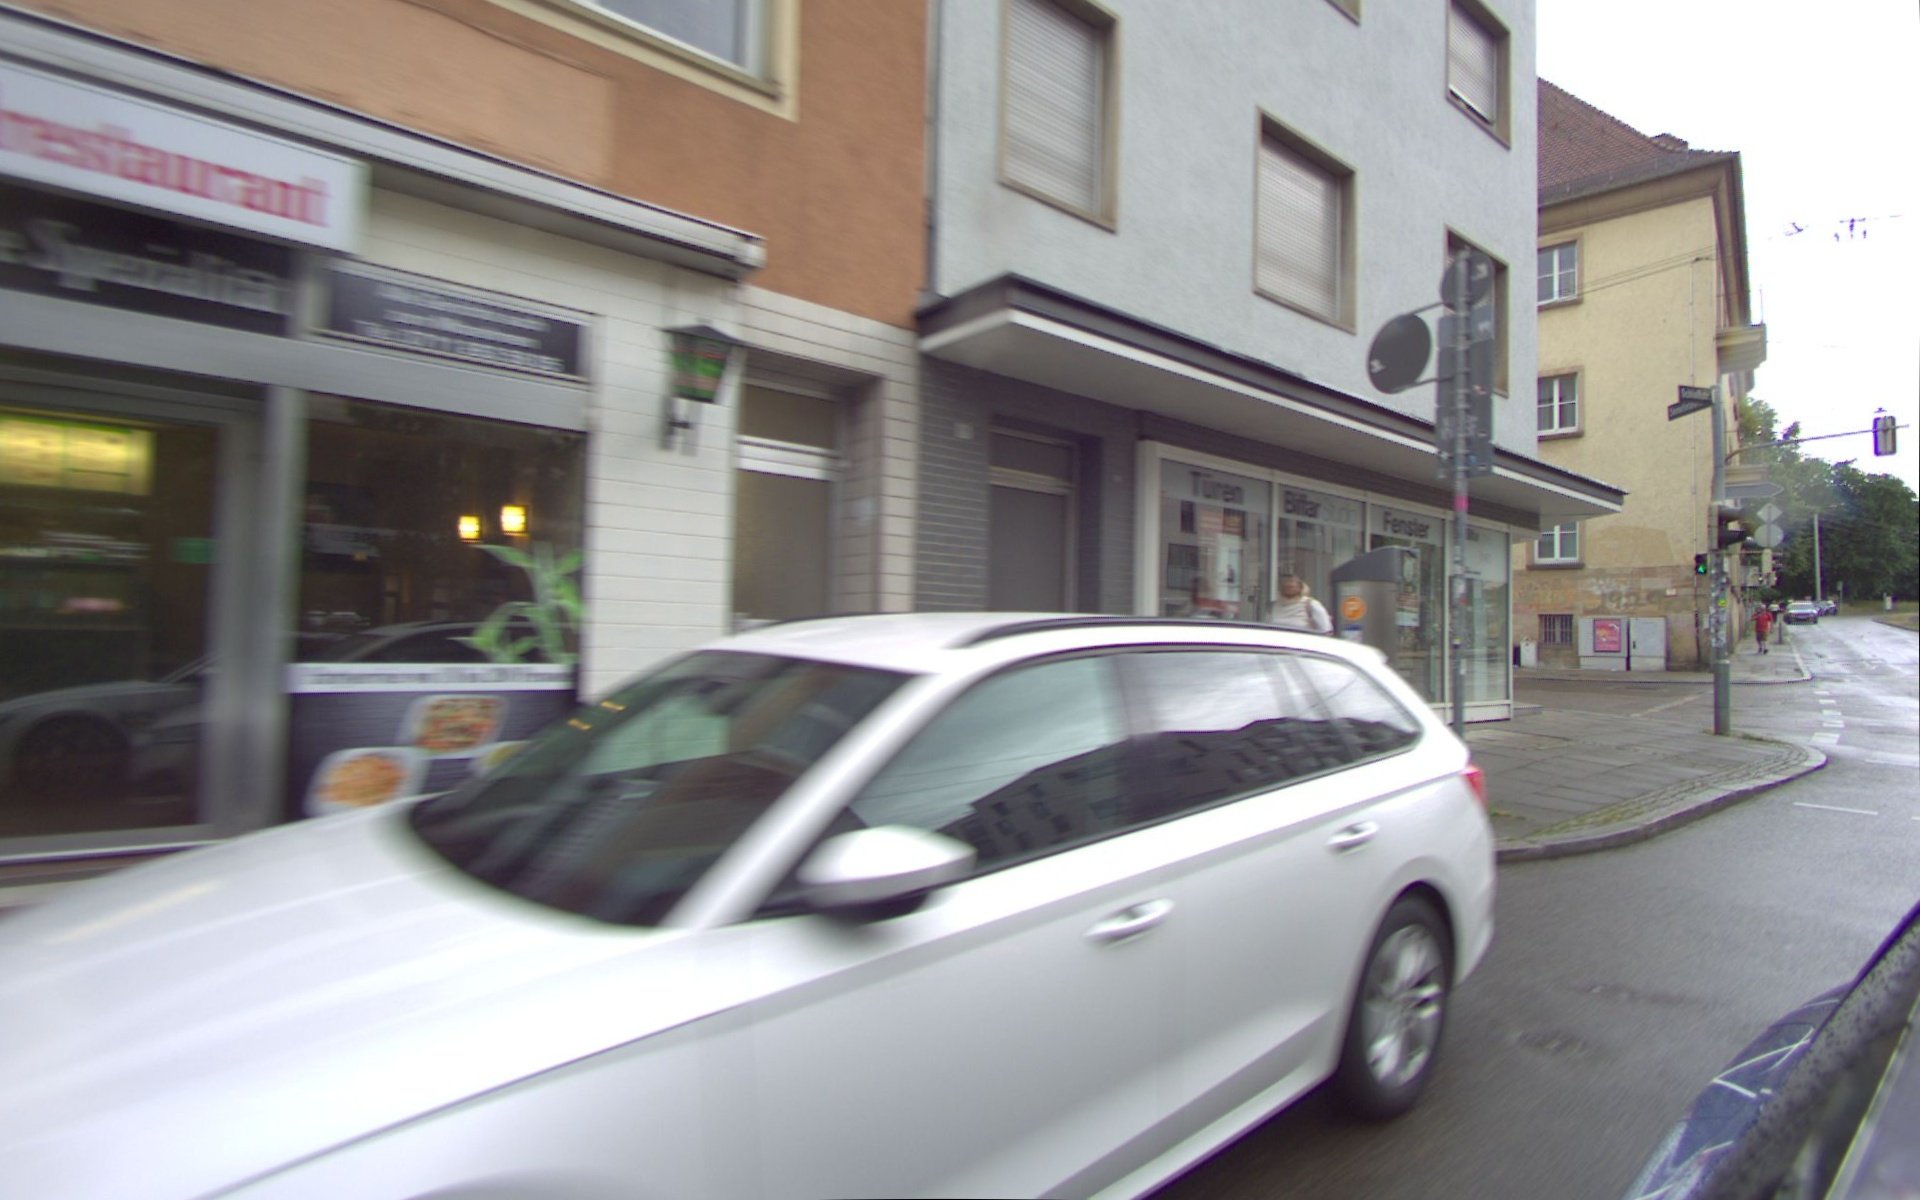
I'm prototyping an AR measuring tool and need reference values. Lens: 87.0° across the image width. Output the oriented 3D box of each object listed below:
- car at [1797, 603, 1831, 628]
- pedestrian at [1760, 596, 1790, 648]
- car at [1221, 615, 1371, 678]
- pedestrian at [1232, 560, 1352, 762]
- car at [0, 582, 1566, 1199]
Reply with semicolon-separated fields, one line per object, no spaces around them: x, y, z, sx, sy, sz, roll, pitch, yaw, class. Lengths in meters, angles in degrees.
64.246;1.138;76.150;1.717;1.707;3.813;-4;-2;38;car
29.098;0.761;36.154;0.746;1.785;0.807;3;2;39;pedestrian
9.741;1.292;29.521;1.734;1.538;3.859;-1;2;-38;car
2.796;0.487;8.498;0.687;1.592;0.752;2;-2;39;pedestrian
-0.171;0.691;2.800;4.505;1.474;1.805;-1;1;-40;car
